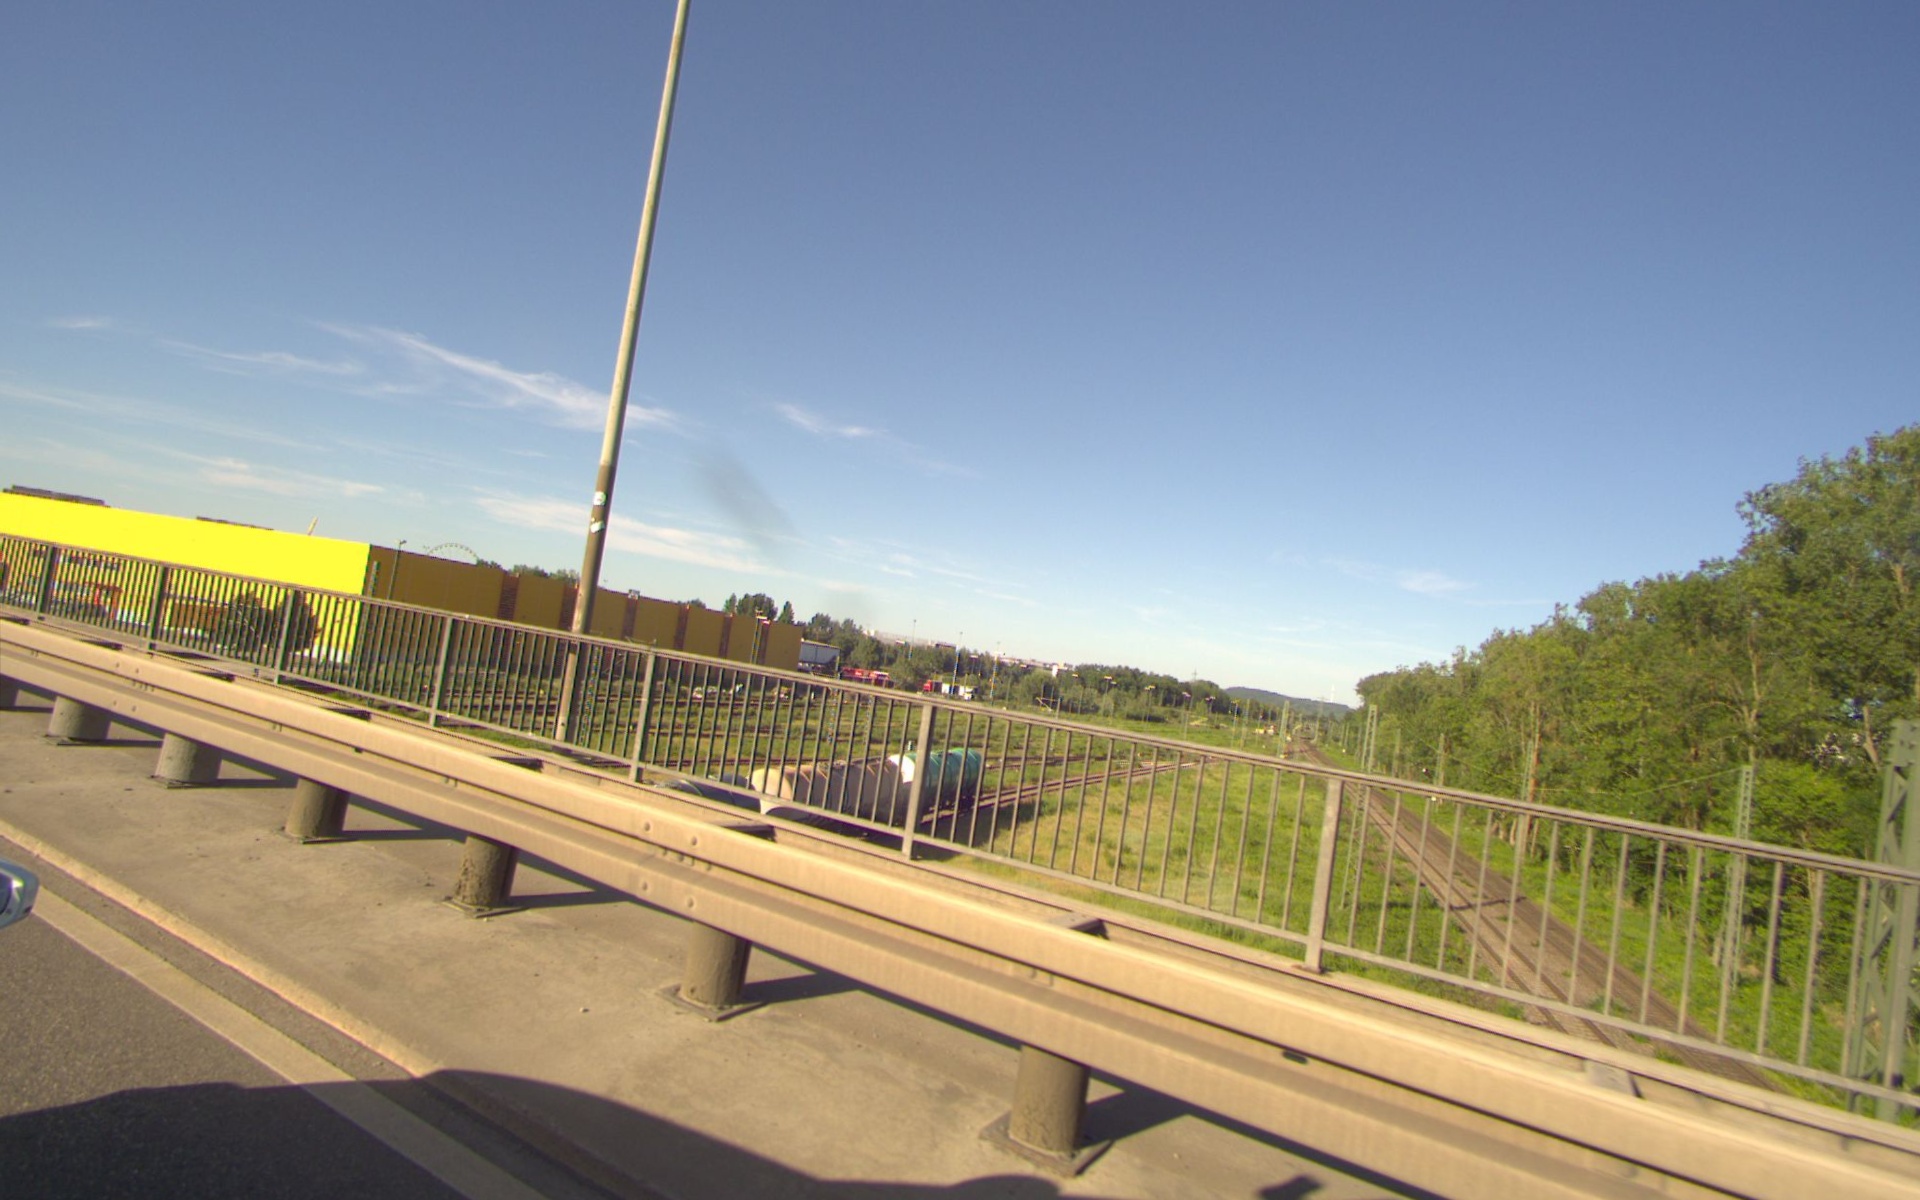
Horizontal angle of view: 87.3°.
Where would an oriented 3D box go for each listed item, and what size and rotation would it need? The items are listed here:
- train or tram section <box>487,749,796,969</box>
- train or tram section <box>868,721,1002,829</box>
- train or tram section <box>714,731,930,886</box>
[{"bbox_3d":[-10.972,8.897,37.416,3.274,5.325,13.096,7,-2,19],"label":"train or tram section"},{"bbox_3d":[-1.220,11.228,66.814,3.274,5.242,15.193,7,-2,19],"label":"train or tram section"},{"bbox_3d":[-6.264,10.022,51.601,3.274,5.322,16.896,7,-2,19],"label":"train or tram section"}]
